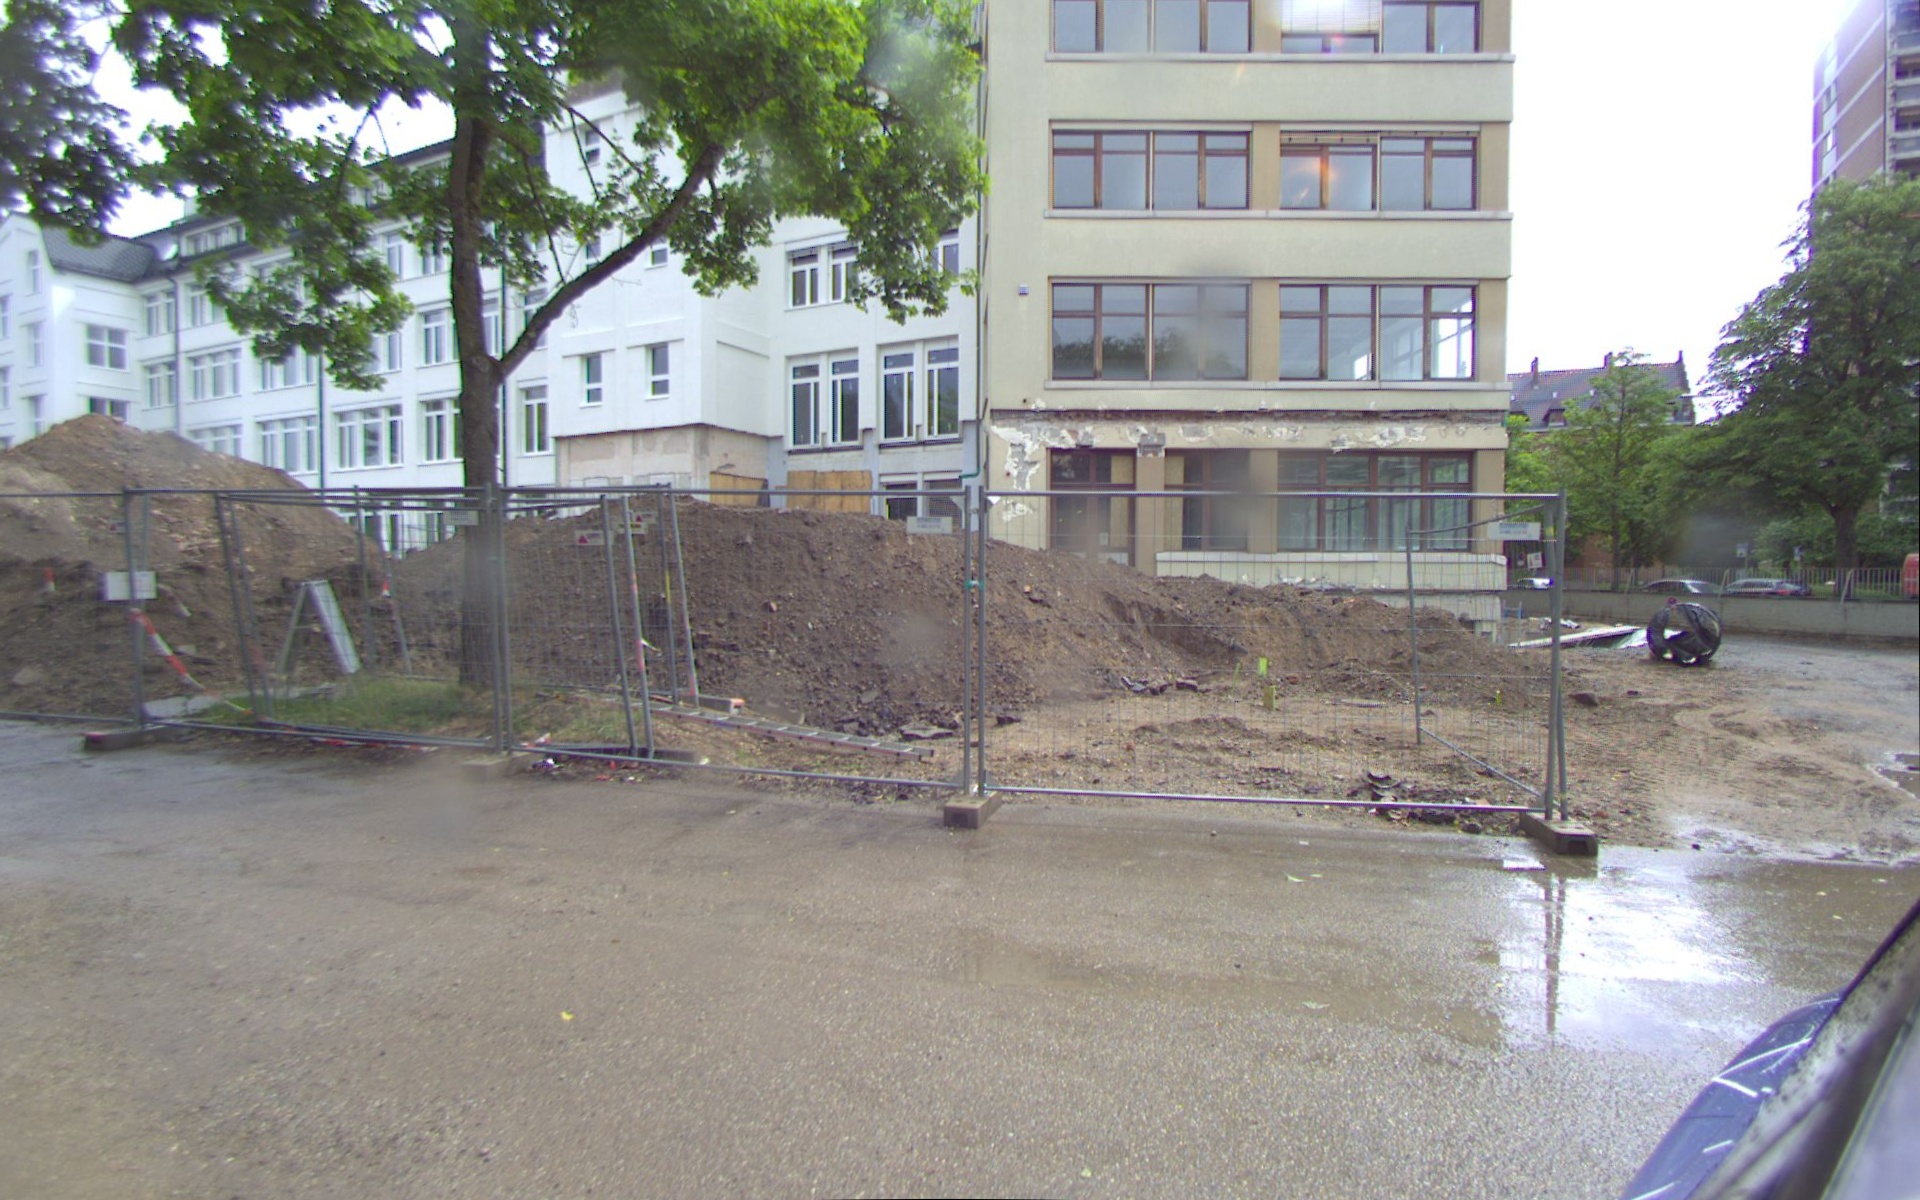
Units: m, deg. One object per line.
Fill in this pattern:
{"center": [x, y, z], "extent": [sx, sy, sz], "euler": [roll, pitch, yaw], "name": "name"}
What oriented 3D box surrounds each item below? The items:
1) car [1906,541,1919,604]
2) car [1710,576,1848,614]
{"center": [41.203, -1.082, 40.568], "extent": [2.268, 2.666, 5.463], "euler": [1, 2, 13], "name": "car"}
{"center": [35.613, -0.268, 44.218], "extent": [1.961, 1.499, 4.767], "euler": [2, 1, -2], "name": "car"}
